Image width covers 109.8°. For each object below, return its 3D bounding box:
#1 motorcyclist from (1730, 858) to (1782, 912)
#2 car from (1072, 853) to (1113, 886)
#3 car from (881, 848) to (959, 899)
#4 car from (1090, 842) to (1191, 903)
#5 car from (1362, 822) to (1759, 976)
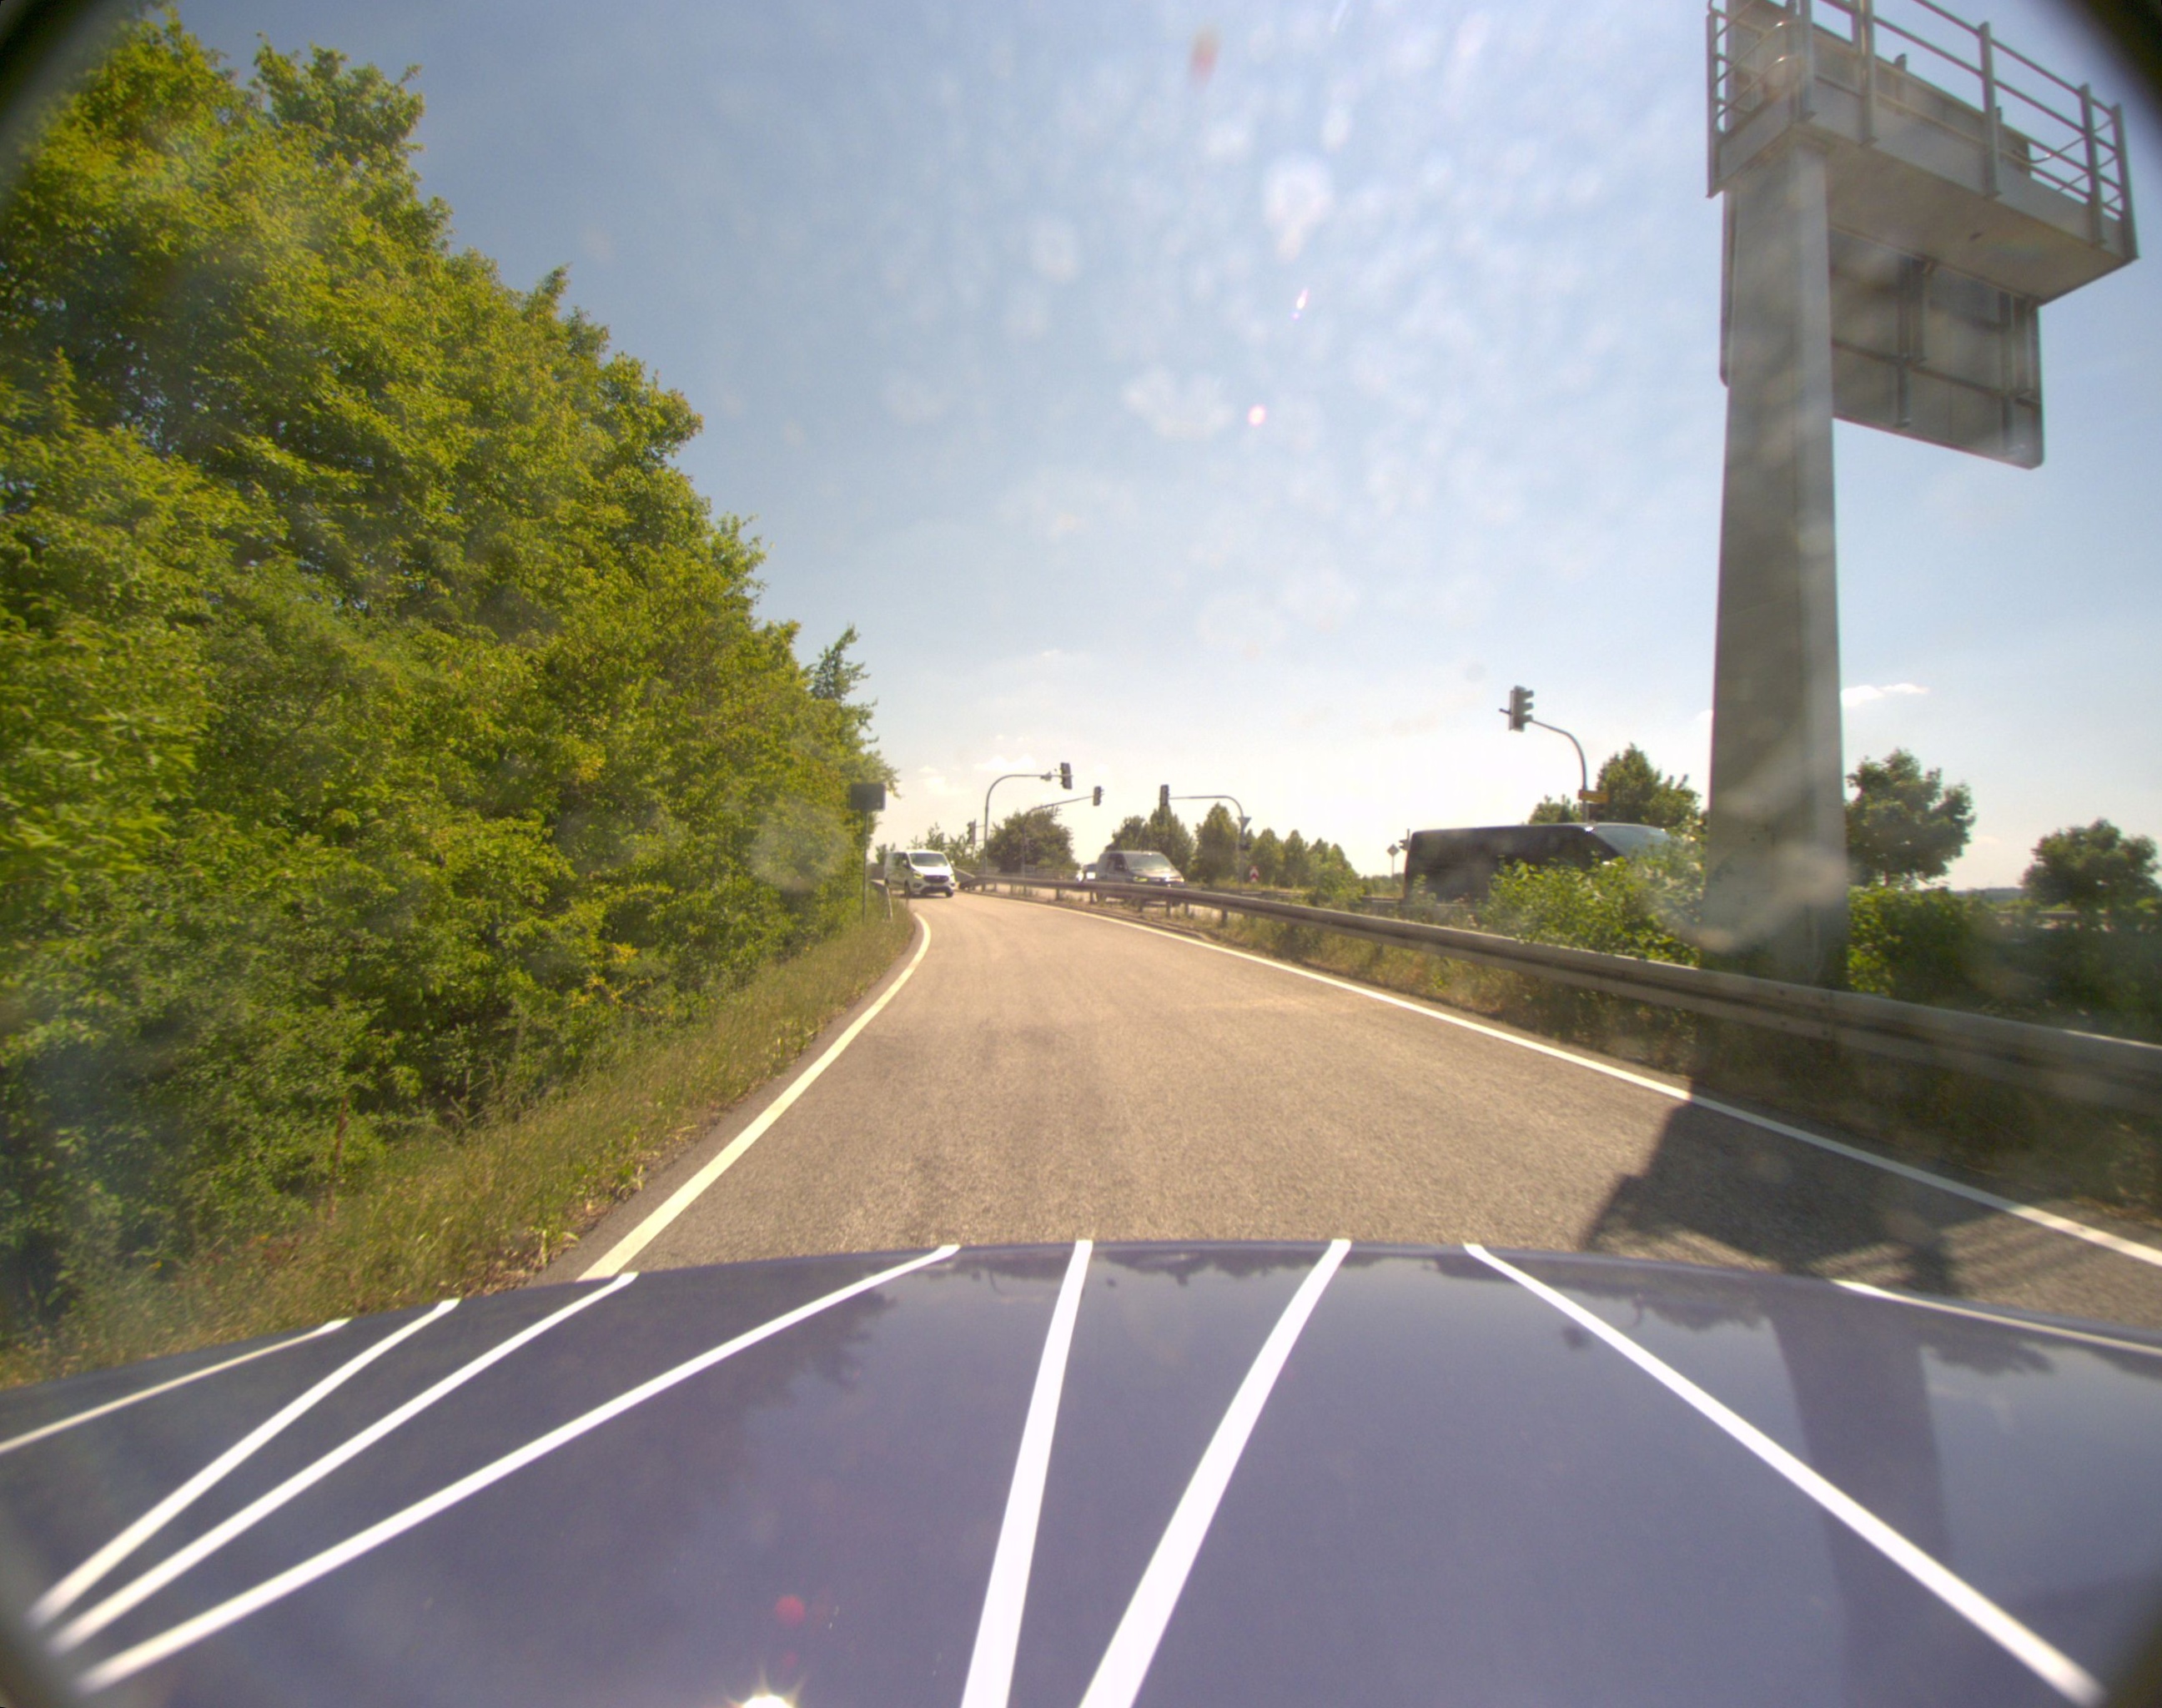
[{"bbox_3d":[16.739,0.755,18.847,0.678,1.295,0.722,4,-2,-25],"label":"motorcyclist"},{"bbox_3d":[0.555,0.788,40.282,1.790,1.542,3.859,-2,1,-4],"label":"car"},{"bbox_3d":[-7.209,0.893,33.453,2.035,2.071,5.862,0,-2,-26],"label":"car"},{"bbox_3d":[1.992,0.629,26.939,1.947,1.907,4.526,3,-1,-18],"label":"car"},{"bbox_3d":[7.241,0.523,12.428,2.127,1.926,5.402,-1,1,-17],"label":"car"}]
